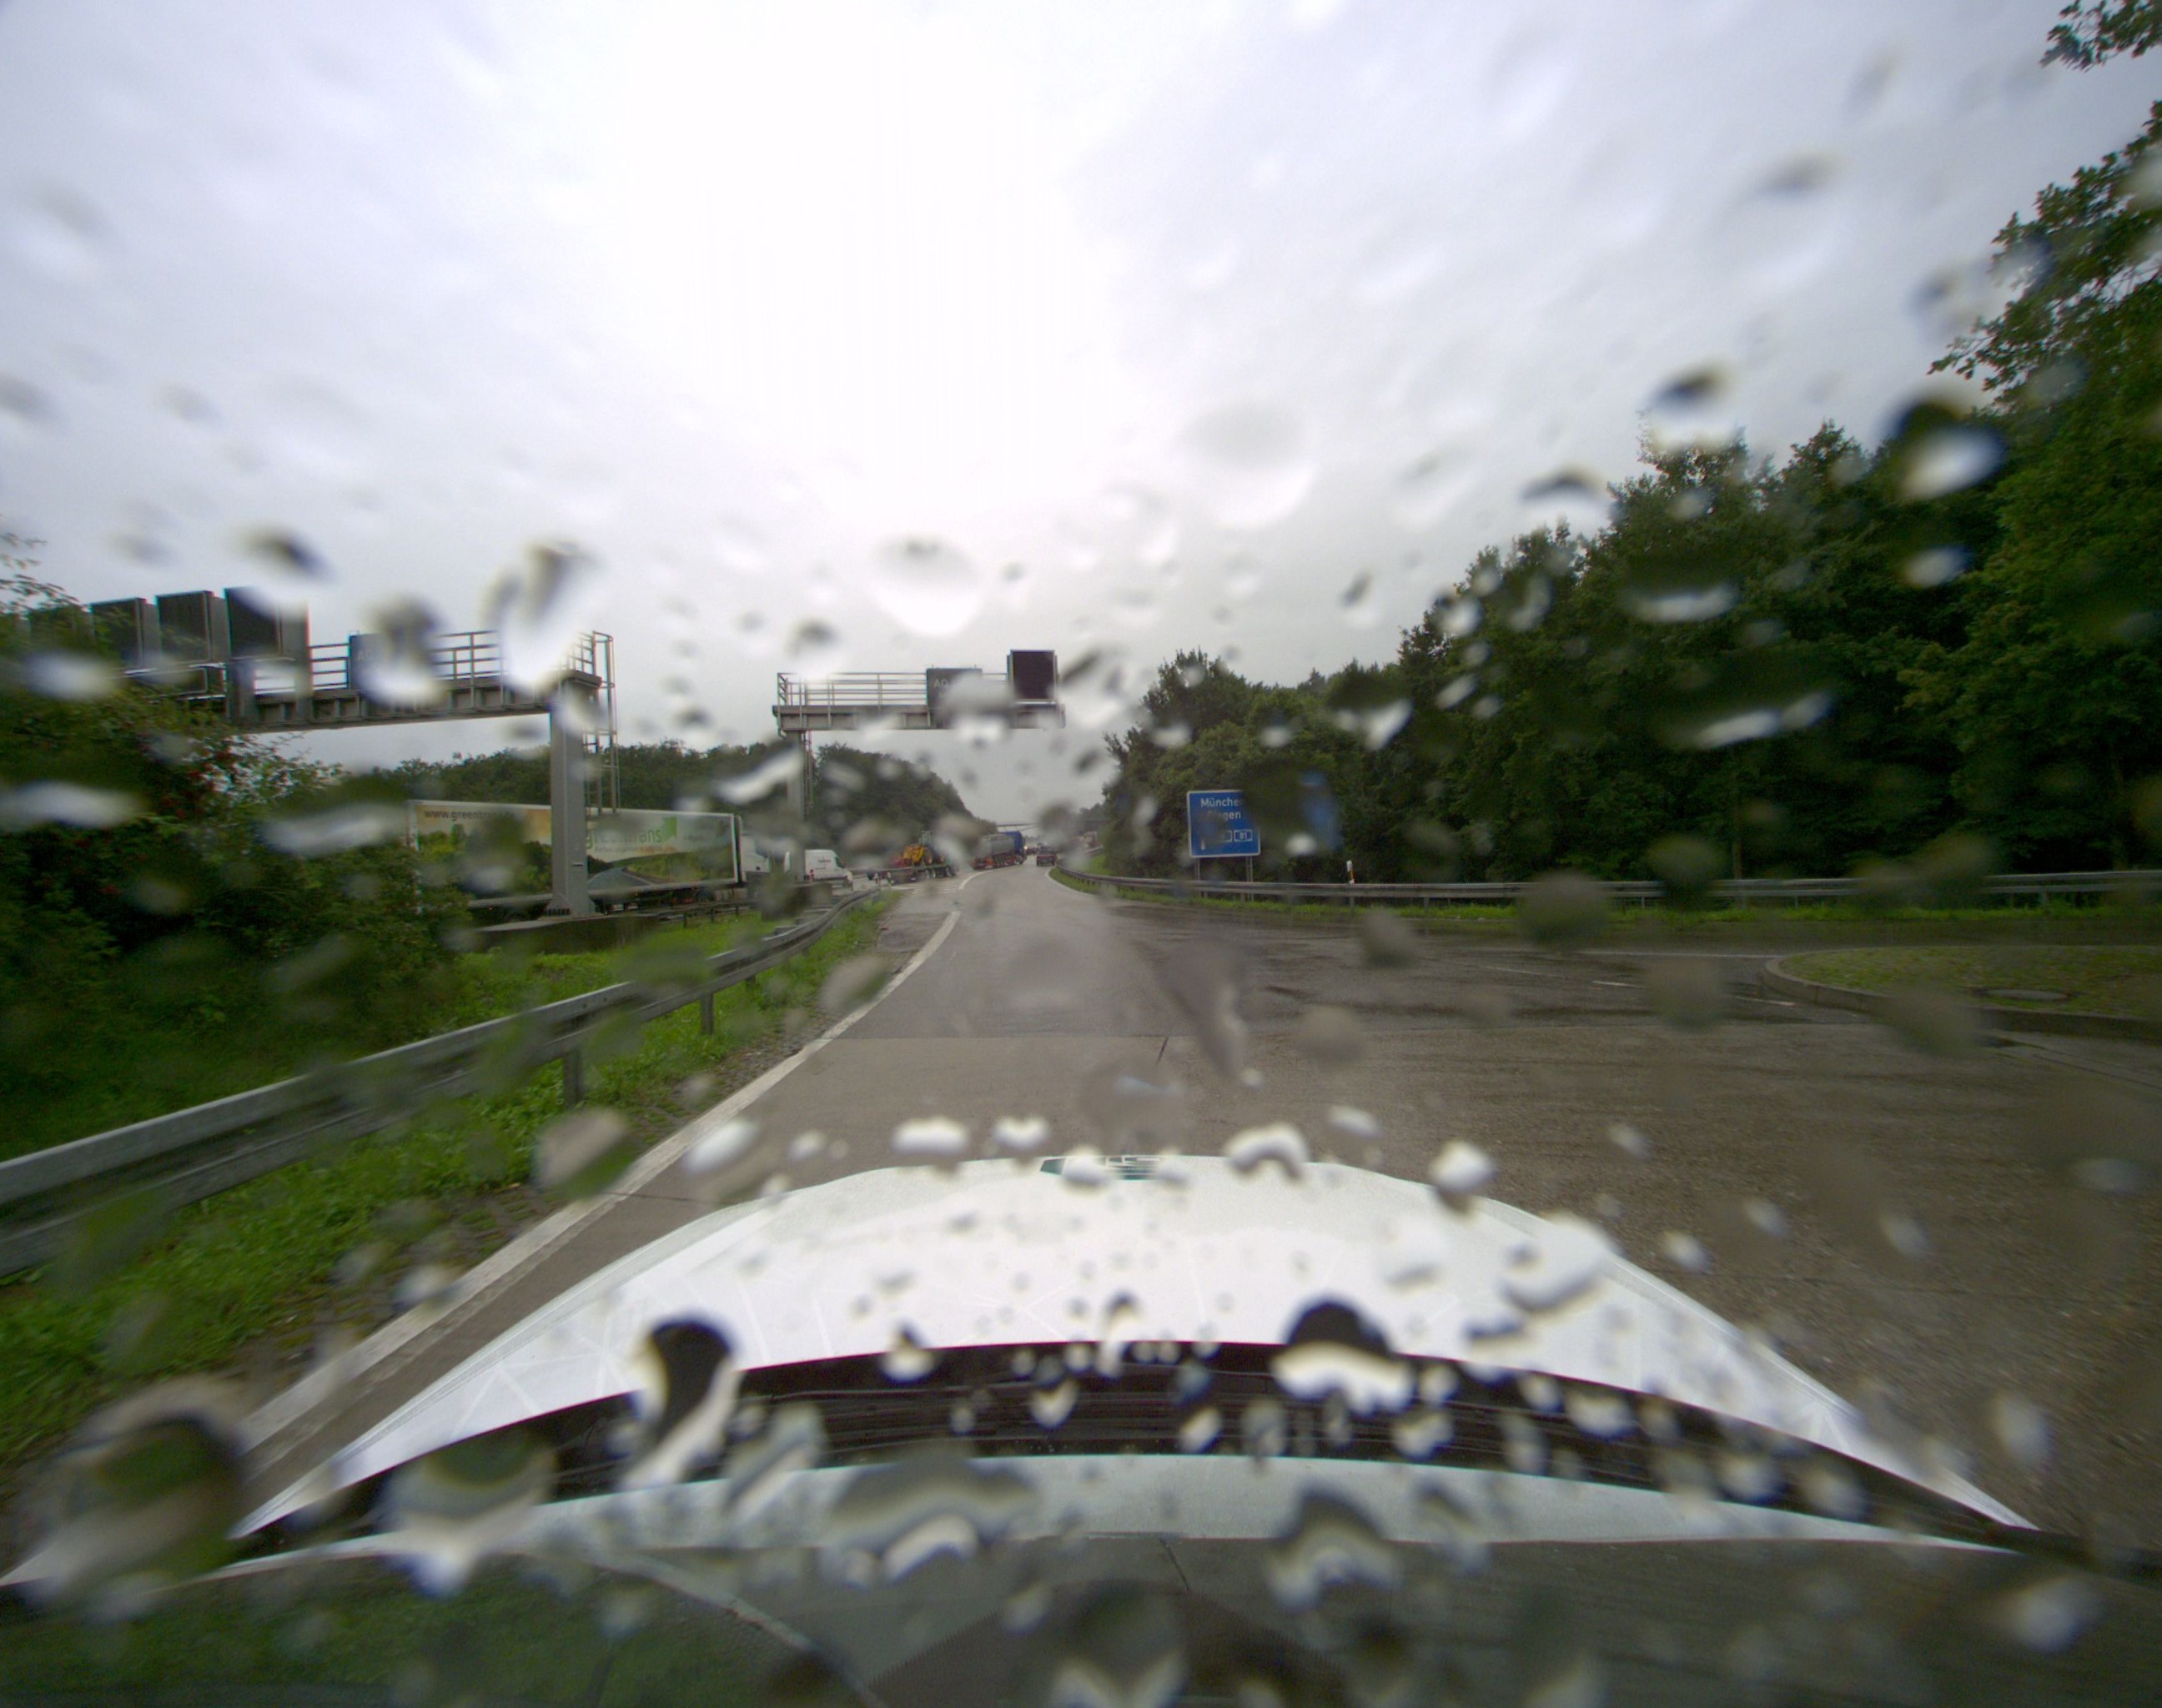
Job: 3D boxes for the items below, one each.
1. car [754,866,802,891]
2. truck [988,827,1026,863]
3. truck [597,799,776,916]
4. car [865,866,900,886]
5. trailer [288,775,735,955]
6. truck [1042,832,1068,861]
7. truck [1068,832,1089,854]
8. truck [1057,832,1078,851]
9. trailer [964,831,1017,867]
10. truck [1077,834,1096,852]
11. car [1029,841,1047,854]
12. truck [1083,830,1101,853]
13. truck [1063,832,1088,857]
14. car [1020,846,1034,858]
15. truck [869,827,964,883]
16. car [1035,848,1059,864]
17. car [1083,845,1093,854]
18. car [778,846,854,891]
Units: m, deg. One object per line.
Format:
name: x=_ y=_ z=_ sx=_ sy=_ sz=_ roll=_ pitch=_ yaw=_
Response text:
car: x=-24.236 y=1.937 z=65.241 sx=1.765 sy=1.706 sz=4.010 roll=-3 pitch=0 yaw=9
truck: x=-8.156 y=-1.052 z=89.955 sx=2.861 sy=3.693 sz=5.068 roll=-3 pitch=1 yaw=8
truck: x=-15.624 y=0.117 z=32.963 sx=2.901 sy=4.099 sz=6.738 roll=-3 pitch=0 yaw=10
car: x=-17.758 y=1.975 z=72.992 sx=1.776 sy=1.727 sz=4.007 roll=0 pitch=0 yaw=6
trailer: x=-16.750 y=0.225 z=26.487 sx=2.900 sy=4.205 sz=13.674 roll=-3 pitch=0 yaw=10
truck: x=-4.981 y=-1.413 z=157.783 sx=3.736 sy=5.499 sz=10.188 roll=0 pitch=0 yaw=5
truck: x=-0.455 y=-2.149 z=163.035 sx=3.492 sy=4.268 sz=10.612 roll=0 pitch=0 yaw=3
truck: x=-3.097 y=-2.919 z=194.863 sx=3.559 sy=4.095 sz=10.895 roll=-3 pitch=-1 yaw=5
trailer: x=-9.101 y=-0.652 z=83.279 sx=2.857 sy=3.288 sz=10.102 roll=-3 pitch=1 yaw=8
truck: x=1.296 y=-2.467 z=186.000 sx=3.739 sy=3.970 sz=11.067 roll=0 pitch=0 yaw=3
car: x=-10.505 y=-1.616 z=199.438 sx=3.231 sy=3.002 sz=6.783 roll=0 pitch=0 yaw=5
truck: x=2.808 y=-3.175 z=208.325 sx=4.318 sy=5.763 sz=9.738 roll=0 pitch=0 yaw=3
truck: x=-0.896 y=-1.738 z=147.524 sx=3.584 sy=4.104 sz=11.572 roll=-4 pitch=1 yaw=4
car: x=-9.538 y=-0.331 z=144.977 sx=1.789 sy=1.903 sz=4.006 roll=-3 pitch=0 yaw=5
truck: x=-11.916 y=-0.060 z=60.679 sx=2.815 sy=3.588 sz=11.826 roll=-4 pitch=1 yaw=8
car: x=-3.472 y=0.237 z=84.259 sx=1.984 sy=1.636 sz=4.005 roll=0 pitch=0 yaw=5
car: x=1.514 y=-0.901 z=172.900 sx=1.790 sy=1.903 sz=4.005 roll=-3 pitch=0 yaw=4
car: x=-17.153 y=0.875 z=53.093 sx=2.202 sy=2.629 sz=5.858 roll=-3 pitch=0 yaw=9
